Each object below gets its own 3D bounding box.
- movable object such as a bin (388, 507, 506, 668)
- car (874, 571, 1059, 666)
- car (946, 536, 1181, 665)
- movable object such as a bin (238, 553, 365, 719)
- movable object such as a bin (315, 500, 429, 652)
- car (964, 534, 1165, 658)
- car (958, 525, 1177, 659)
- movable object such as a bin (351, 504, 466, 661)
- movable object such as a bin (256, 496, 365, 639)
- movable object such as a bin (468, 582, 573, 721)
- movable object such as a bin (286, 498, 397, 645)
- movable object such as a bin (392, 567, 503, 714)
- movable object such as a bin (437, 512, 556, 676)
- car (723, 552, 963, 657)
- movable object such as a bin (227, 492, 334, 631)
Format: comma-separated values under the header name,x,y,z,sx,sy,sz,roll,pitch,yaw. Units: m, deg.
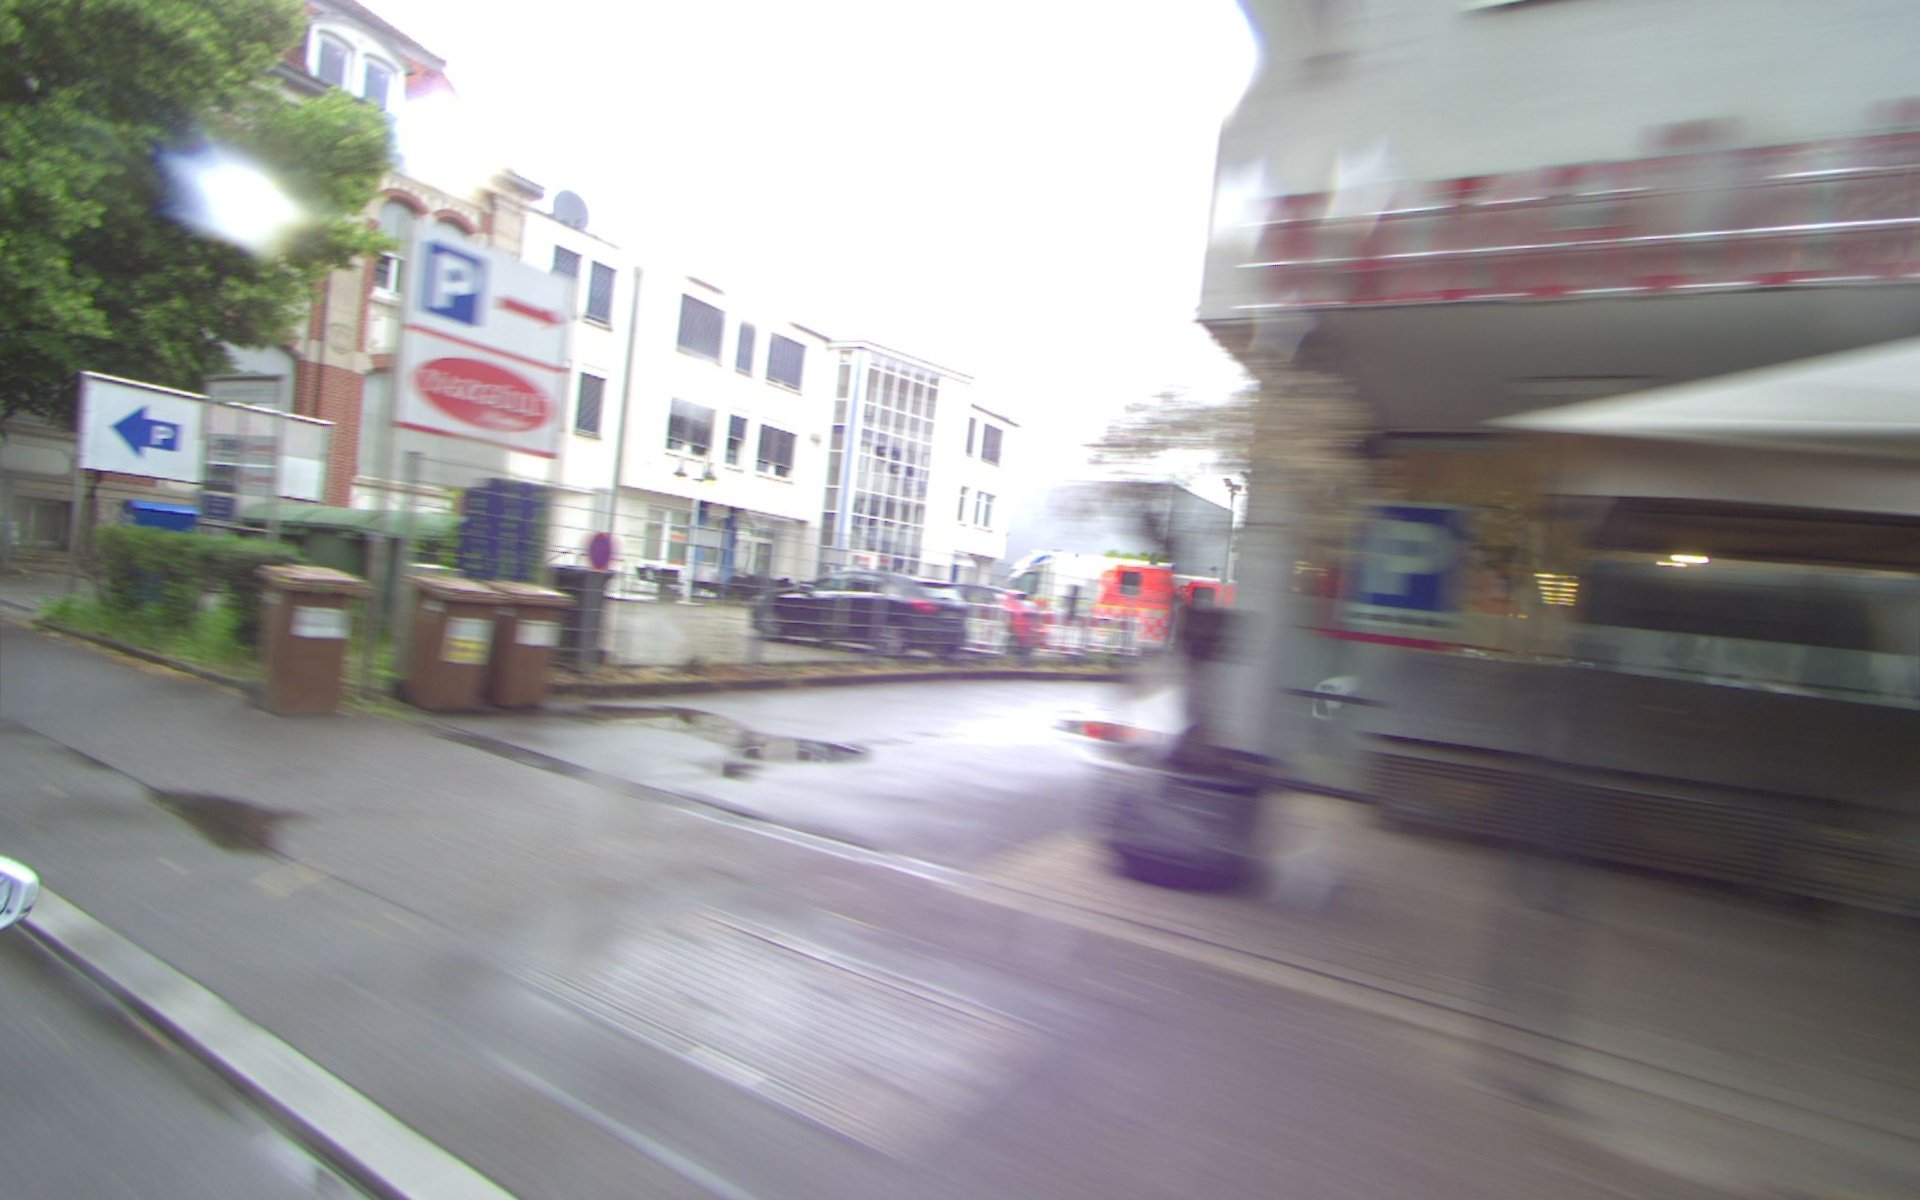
name,x,y,z,sx,sy,sz,roll,pitch,yaw
movable object such as a bin,-5.191,-0.113,10.203,0.614,1.528,0.738,7,2,28
car,0.153,0.370,21.119,3.453,1.505,1.521,7,1,17
car,2.796,0.051,28.225,6.084,2.732,2.140,7,-1,0
movable object such as a bin,-4.891,0.263,7.478,0.608,1.130,0.505,7,2,32
movable object such as a bin,-6.315,-0.244,10.821,0.614,1.528,0.738,7,2,28
car,3.328,-0.092,33.063,6.084,3.161,2.140,7,-1,0
car,3.162,-0.204,30.609,6.084,3.161,2.140,7,-1,0
movable object such as a bin,-5.755,-0.173,10.512,0.614,1.528,0.737,7,2,28
movable object such as a bin,-7.394,-0.360,11.463,0.614,1.528,0.738,7,2,28
movable object such as a bin,-3.888,0.447,8.903,0.608,1.130,0.505,7,2,32
movable object such as a bin,-6.843,-0.305,11.146,0.614,1.528,0.738,7,2,28
movable object such as a bin,-4.259,0.338,8.368,0.552,1.130,0.531,7,2,34
movable object such as a bin,-4.607,-0.052,10.015,0.614,1.528,0.738,7,2,28
car,-2.153,0.067,18.100,4.066,1.505,1.664,5,0,32
movable object such as a bin,-7.952,-0.434,11.784,0.614,1.521,0.738,7,2,28
